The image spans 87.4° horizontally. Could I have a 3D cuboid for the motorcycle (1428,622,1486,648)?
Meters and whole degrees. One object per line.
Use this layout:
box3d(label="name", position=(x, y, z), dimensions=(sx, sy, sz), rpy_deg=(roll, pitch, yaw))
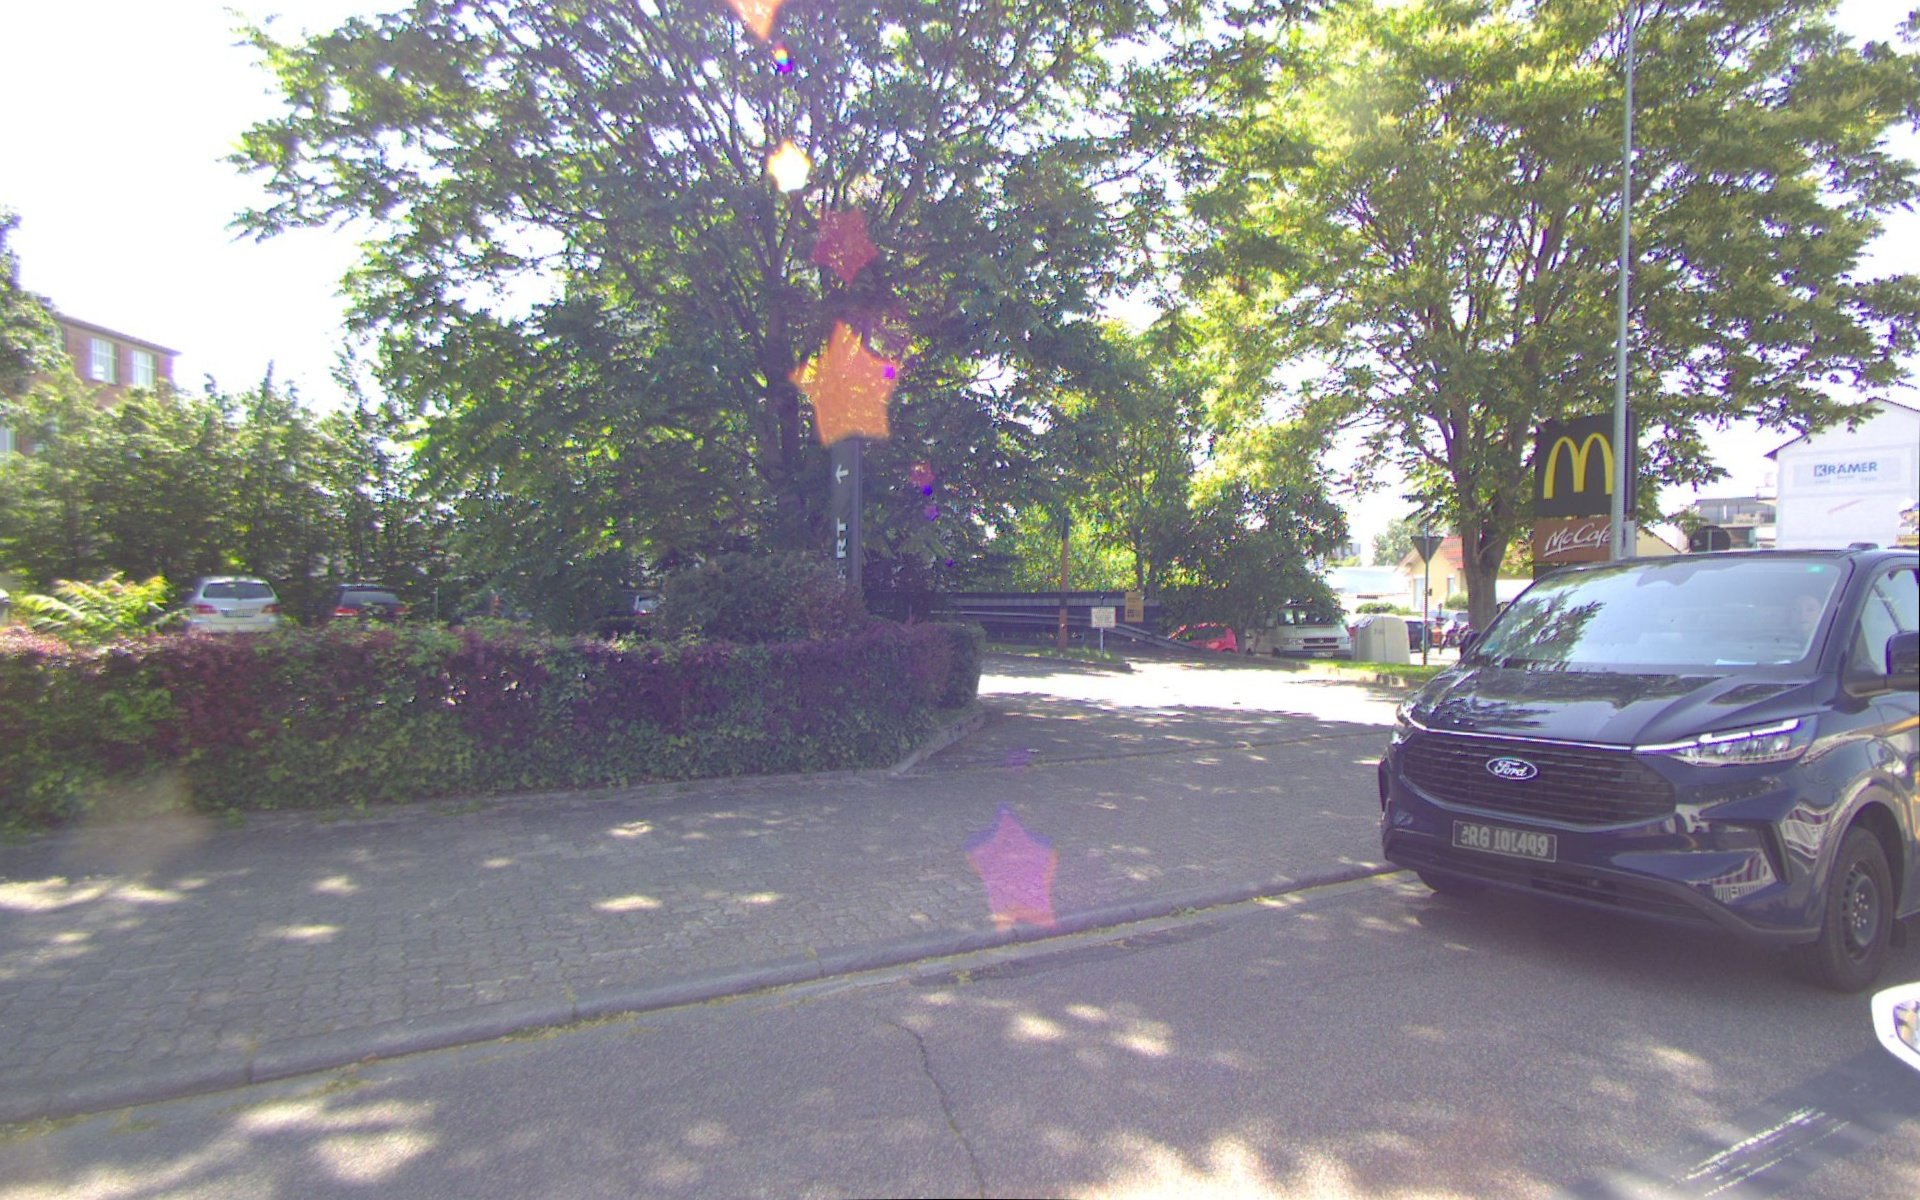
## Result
box3d(label="motorcycle", position=(25.872, 1.812, 52.295), dimensions=(2.672, 1.243, 0.996), rpy_deg=(2, 0, -14))

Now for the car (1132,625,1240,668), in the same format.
box3d(label="car", position=(7.846, 1.595, 35.017), dimensions=(3.350, 1.397, 1.485), rpy_deg=(0, 2, -4))

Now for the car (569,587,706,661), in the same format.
box3d(label="car", position=(-7.680, 0.490, 23.742), dimensions=(1.649, 1.490, 3.855), rpy_deg=(-1, 3, -42))

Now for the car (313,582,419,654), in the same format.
box3d(label="car", position=(-14.403, 0.358, 24.268), dimensions=(1.758, 1.490, 3.956), rpy_deg=(-1, 3, -37))

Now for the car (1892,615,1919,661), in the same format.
box3d(label="car", position=(36.423, 1.403, 37.724), dimensions=(1.835, 1.651, 3.981), rpy_deg=(1, 0, 40))

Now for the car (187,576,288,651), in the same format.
box3d(label="car", position=(-17.358, 0.271, 24.060), dimensions=(1.759, 1.593, 3.954), rpy_deg=(0, 2, -39))

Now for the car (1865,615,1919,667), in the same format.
box3d(label="car", position=(32.190, 1.359, 34.206), dimensions=(1.835, 1.651, 3.981), rpy_deg=(1, 0, 40))

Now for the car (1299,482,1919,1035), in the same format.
box3d(label="car", position=(4.723, 0.677, 5.953), dimensions=(5.381, 1.993, 2.166), rpy_deg=(2, -3, -30))

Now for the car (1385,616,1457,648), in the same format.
box3d(label="car", position=(25.721, 1.739, 56.217), dimensions=(1.962, 1.606, 3.998), rpy_deg=(2, 0, -4))

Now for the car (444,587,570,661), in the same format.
box3d(label="car", position=(-10.495, 0.481, 23.150), dimensions=(1.690, 1.473, 3.954), rpy_deg=(-1, 2, -39))

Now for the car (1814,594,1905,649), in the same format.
box3d(label="car", position=(39.935, 0.952, 44.567), dimensions=(4.667, 2.315, 2.120), rpy_deg=(1, 0, -37))

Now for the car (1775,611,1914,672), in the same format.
box3d(label="car", position=(27.856, 1.255, 31.822), dimensions=(1.961, 1.748, 4.000), rpy_deg=(2, 0, 21))

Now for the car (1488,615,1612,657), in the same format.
box3d(label="car", position=(25.603, 1.524, 43.755), dimensions=(4.248, 1.606, 2.000), rpy_deg=(2, 0, 18))

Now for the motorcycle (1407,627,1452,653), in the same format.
box3d(label="motorcycle", position=(23.302, 1.972, 49.900), dimensions=(1.837, 1.174, 0.790), rpy_deg=(2, 0, 6))

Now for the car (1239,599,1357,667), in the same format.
box3d(label="car", position=(9.126, 0.817, 27.559), dimensions=(1.918, 1.604, 5.033), rpy_deg=(2, 1, 5))
